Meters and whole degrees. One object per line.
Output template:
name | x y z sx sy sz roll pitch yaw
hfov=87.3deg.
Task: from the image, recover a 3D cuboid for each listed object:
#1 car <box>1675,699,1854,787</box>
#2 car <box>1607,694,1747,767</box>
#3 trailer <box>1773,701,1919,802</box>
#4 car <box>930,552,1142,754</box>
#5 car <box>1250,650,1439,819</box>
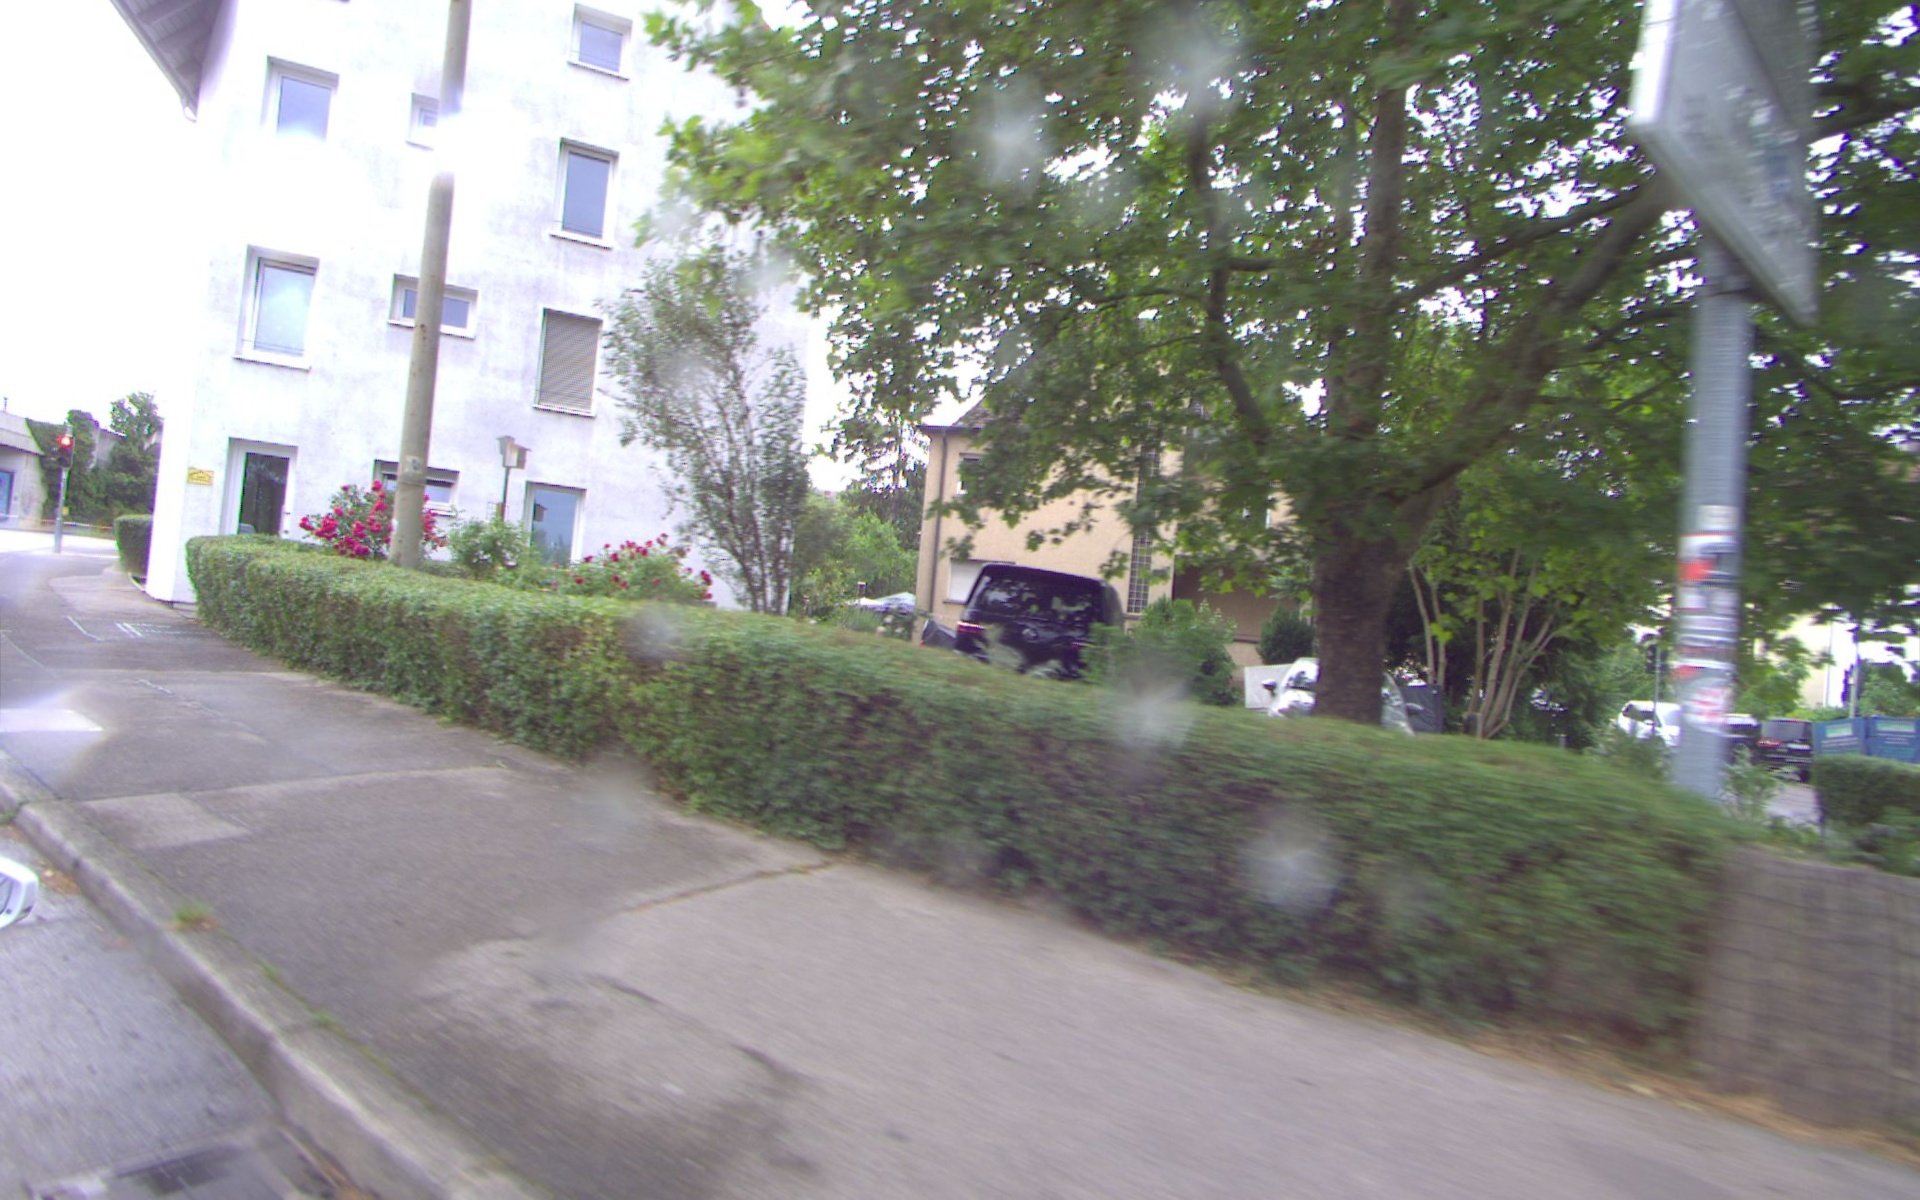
car | 23.089 4.024 29.136 1.962 1.861 4.584 7 -1 11
car | 24.306 4.367 34.352 1.962 1.861 4.584 7 -1 11
trailer | 22.443 3.736 25.138 1.640 2.037 3.494 7 -1 10
car | 1.183 0.664 13.029 1.962 1.955 4.419 7 -1 12
car | 4.804 1.578 12.976 1.788 1.599 4.002 6 -1 18
